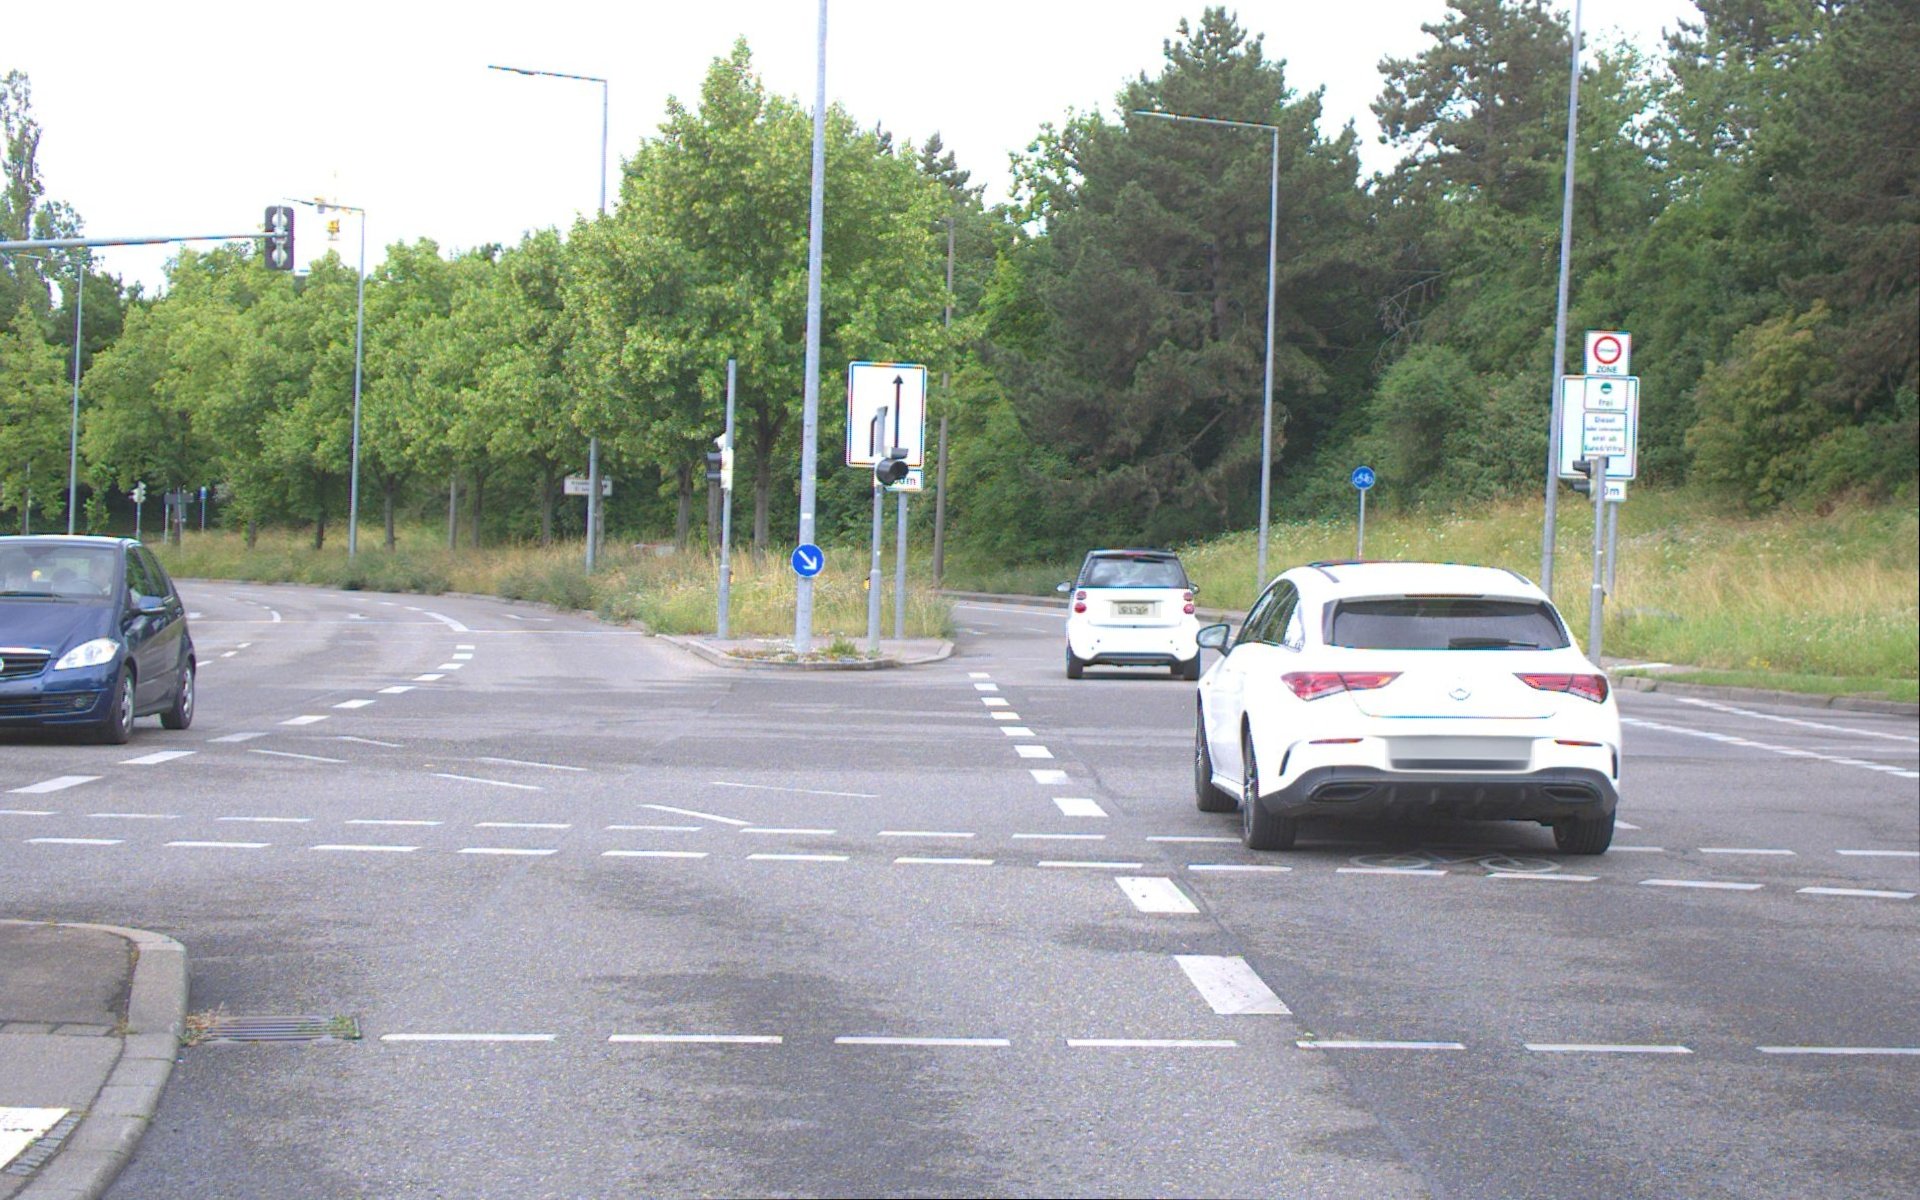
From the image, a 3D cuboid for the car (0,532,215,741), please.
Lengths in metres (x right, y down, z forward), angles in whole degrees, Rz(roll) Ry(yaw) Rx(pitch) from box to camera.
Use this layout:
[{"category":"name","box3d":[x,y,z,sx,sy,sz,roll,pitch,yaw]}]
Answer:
[{"category":"car","box3d":[-7.012,0.240,26.741,1.735,1.503,3.660,1,0,-2]}]

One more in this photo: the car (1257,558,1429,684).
[{"category":"car","box3d":[4.640,0.232,42.079,1.613,1.448,3.882,1,0,0]}]

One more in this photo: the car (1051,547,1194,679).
[{"category":"car","box3d":[1.935,0.140,41.460,1.592,1.511,2.766,1,0,0]}]

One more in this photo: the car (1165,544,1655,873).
[{"category":"car","box3d":[2.226,0.485,18.235,1.844,1.501,4.531,1,0,-2]}]
